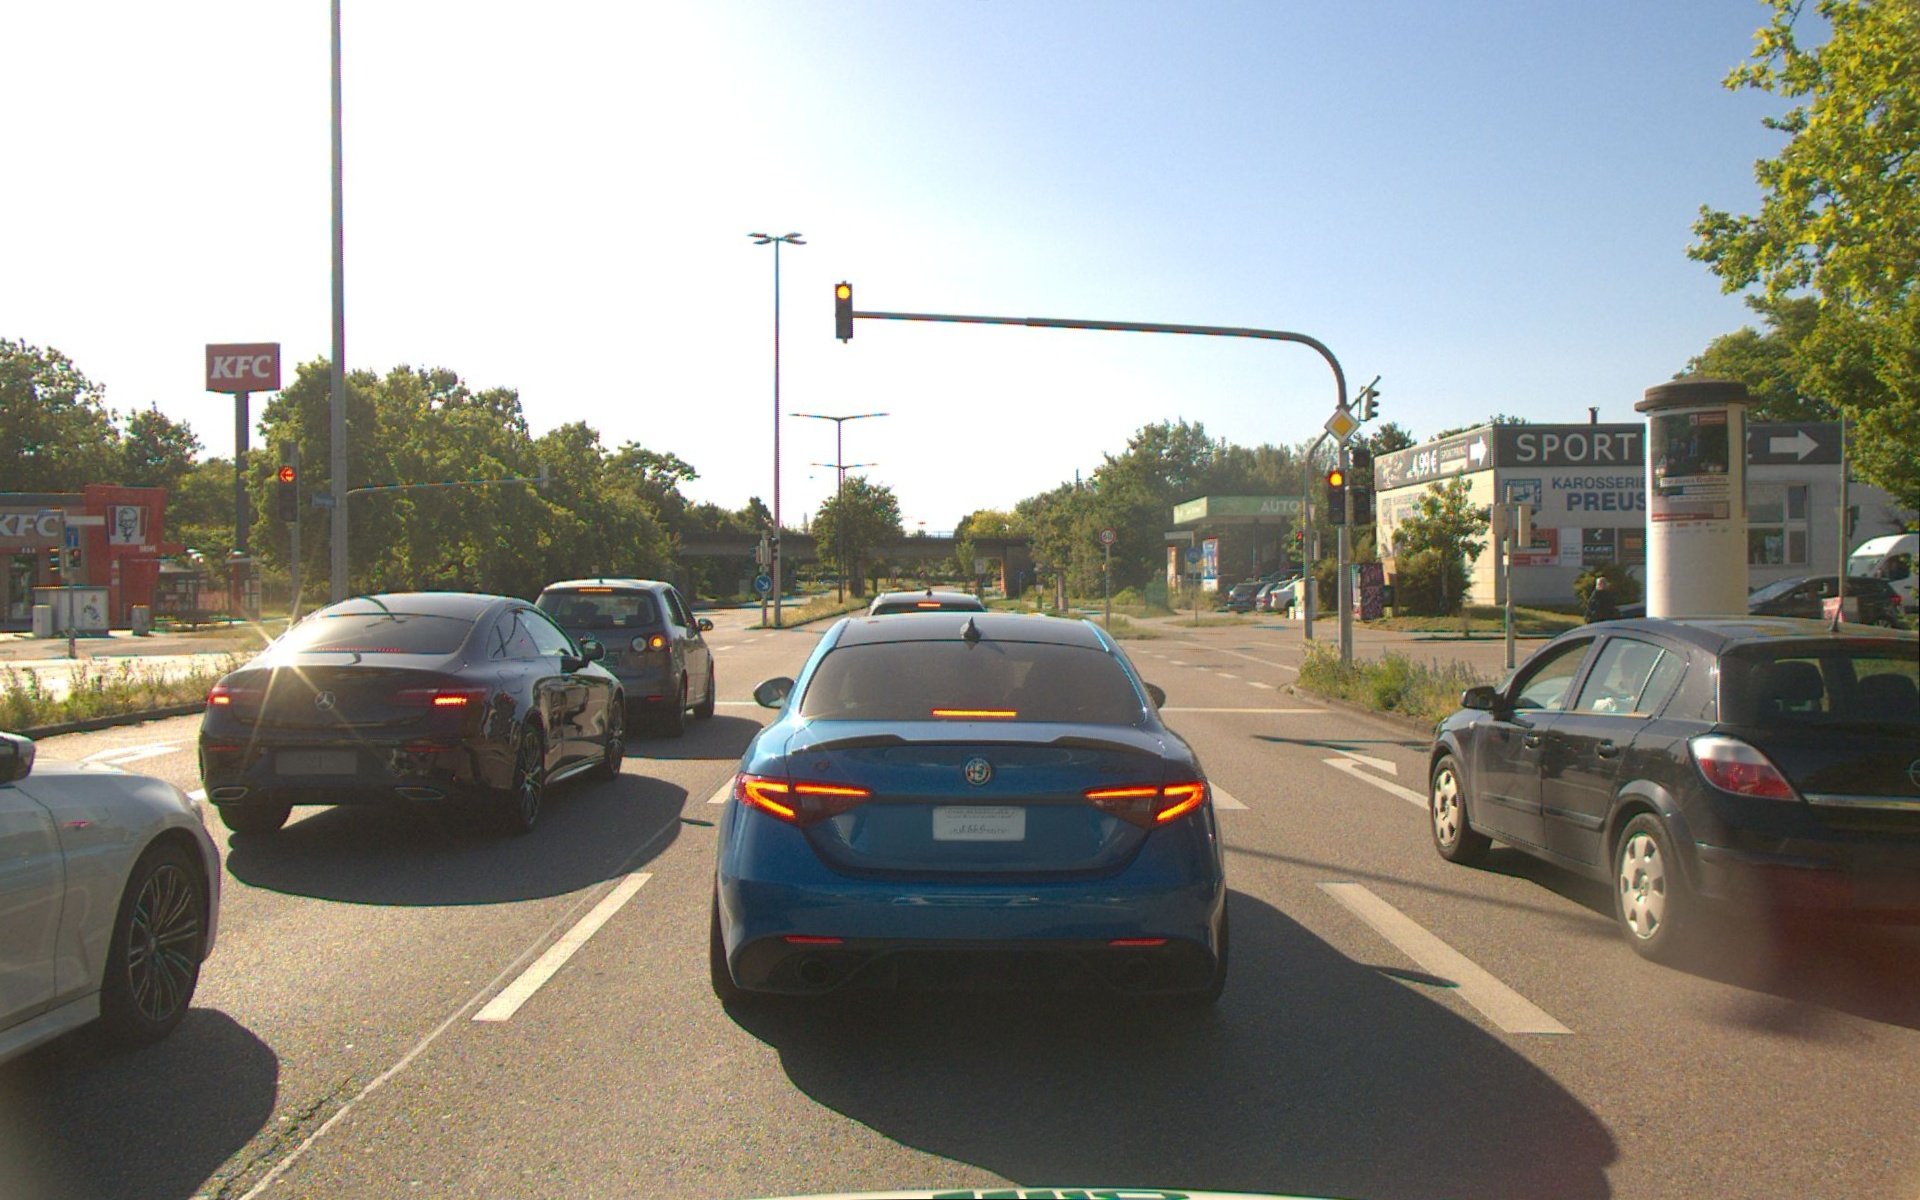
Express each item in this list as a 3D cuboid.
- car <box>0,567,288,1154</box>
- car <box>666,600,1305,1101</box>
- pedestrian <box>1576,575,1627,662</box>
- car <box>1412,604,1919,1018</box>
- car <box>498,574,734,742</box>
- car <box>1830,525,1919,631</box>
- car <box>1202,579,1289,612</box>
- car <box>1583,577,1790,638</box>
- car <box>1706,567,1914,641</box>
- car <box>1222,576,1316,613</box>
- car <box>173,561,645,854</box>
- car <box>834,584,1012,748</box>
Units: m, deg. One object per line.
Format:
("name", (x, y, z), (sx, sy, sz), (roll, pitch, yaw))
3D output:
("car", (-3.354, 0.669, 3.770), (1.775, 1.512, 4.596), (0, 0, 0))
("car", (0.105, 0.751, 6.762), (1.870, 1.447, 3.719), (1, 0, 1))
("pedestrian", (12.674, 0.369, 32.688), (0.800, 1.698, 0.514), (1, -1, -1))
("car", (3.727, 0.781, 8.184), (1.699, 1.467, 4.370), (1, 0, -1))
("car", (-3.590, 0.569, 18.010), (1.776, 1.578, 4.351), (1, 0, -2))
("car", (26.363, -0.605, 43.661), (5.715, 2.719, 2.000), (-1, -1, 0))
("car", (14.487, -0.221, 83.982), (3.925, 1.579, 1.990), (1, 0, -18))
("car", (19.148, 0.198, 43.682), (4.722, 1.493, 1.758), (1, 0, -3))
("car", (20.564, 0.104, 40.088), (4.219, 1.678, 1.637), (1, 0, -2))
("car", (14.084, -0.252, 75.557), (3.905, 1.579, 2.000), (1, 0, 0))
("car", (-3.425, 0.573, 11.260), (1.775, 1.578, 4.542), (1, 0, -1))
("car", (-0.323, 0.636, 17.559), (1.669, 1.523, 3.719), (1, 0, 1))
